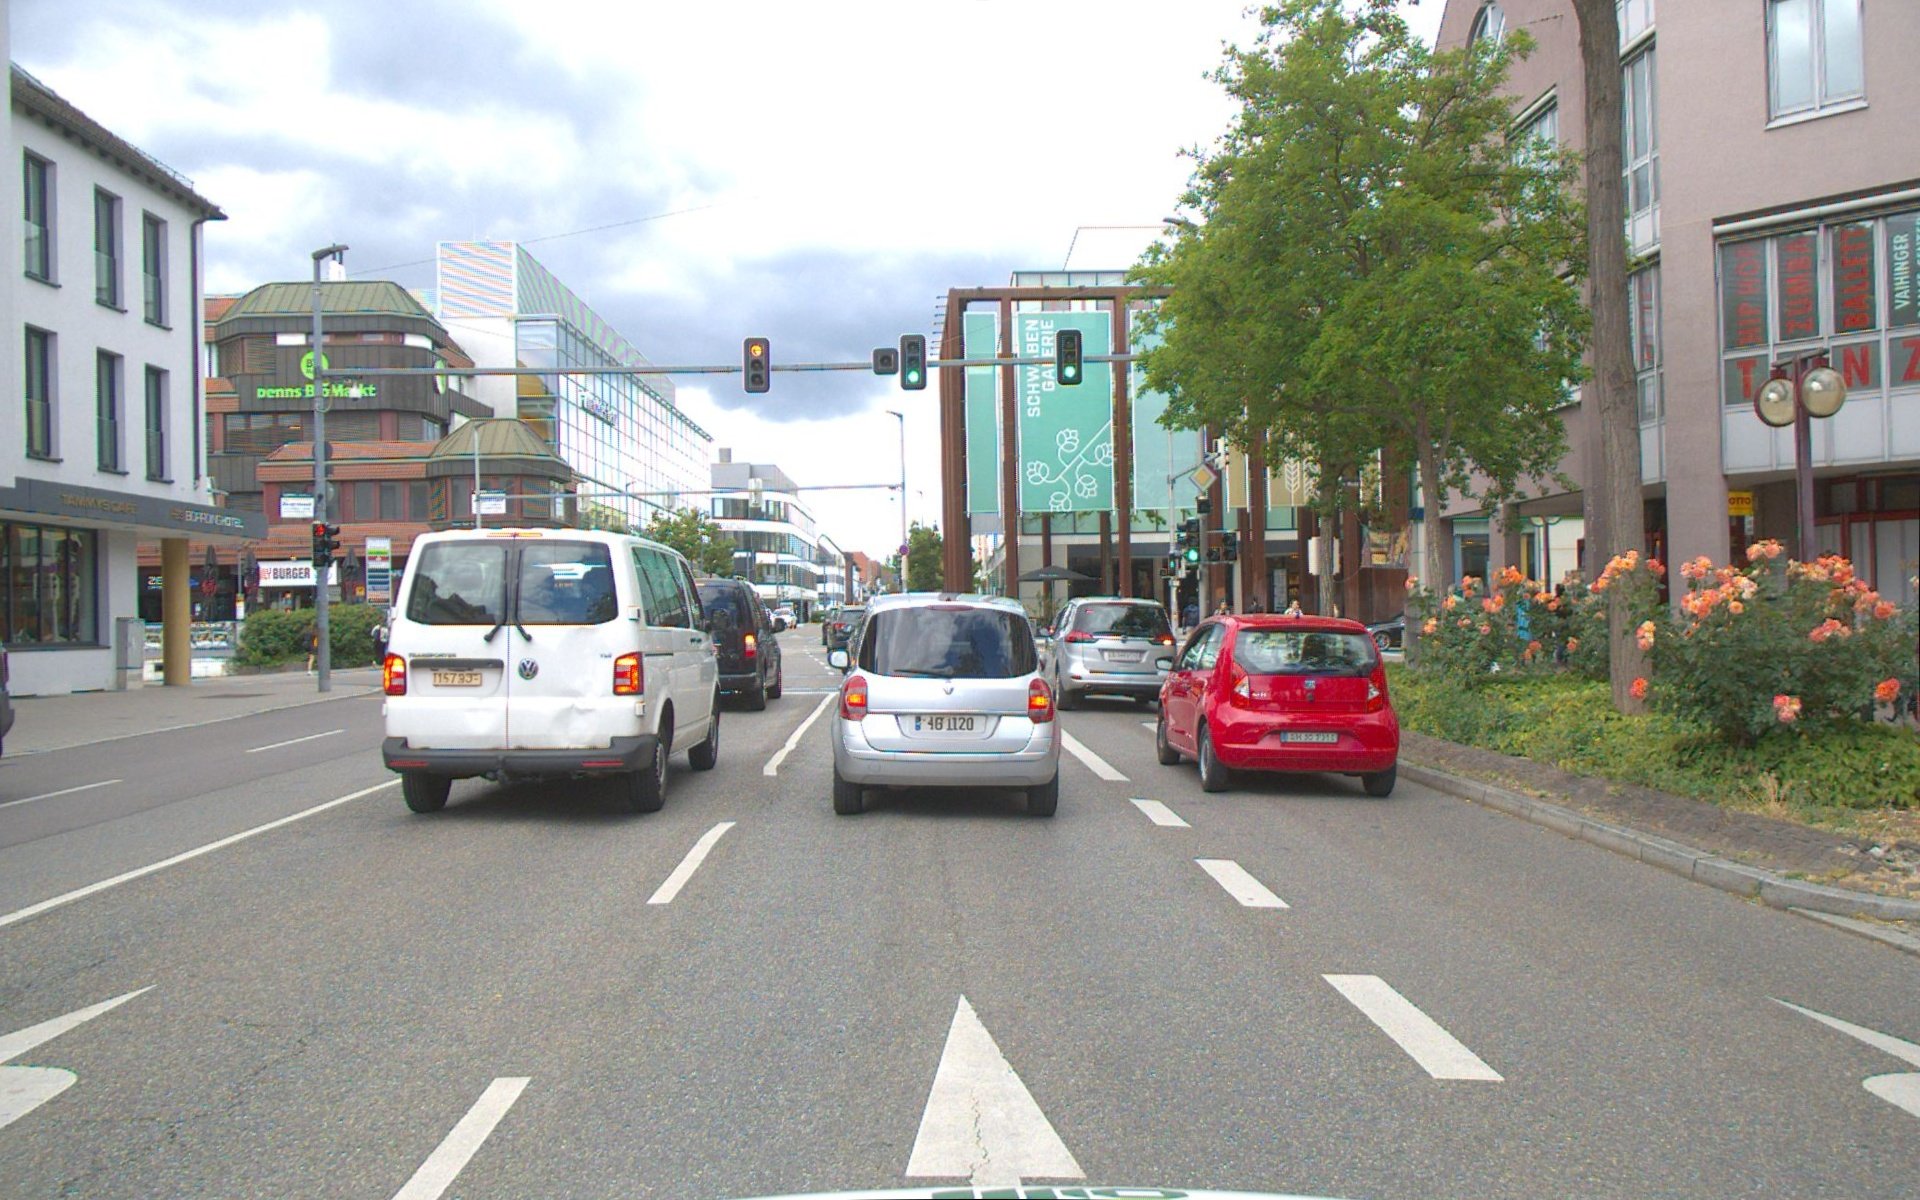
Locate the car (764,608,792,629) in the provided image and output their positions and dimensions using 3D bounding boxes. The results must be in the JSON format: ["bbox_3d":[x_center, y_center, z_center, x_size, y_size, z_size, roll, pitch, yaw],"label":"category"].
[{"bbox_3d":[-13.657,1.369,124.198,1.626,1.491,3.999,-2,0,-1],"label":"car"}]

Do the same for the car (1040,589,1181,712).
[{"bbox_3d":[2.262,0.735,25.883,1.704,1.731,4.379,1,0,-1],"label":"car"}]

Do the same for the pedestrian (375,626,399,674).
[{"bbox_3d":[-19.467,1.686,56.190,0.625,1.616,0.526,-1,0,0],"label":"pedestrian"}]

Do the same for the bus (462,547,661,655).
[{"bbox_3d":[-14.356,-0.007,61.092,2.924,3.385,12.315,-3,0,6],"label":"bus"}]

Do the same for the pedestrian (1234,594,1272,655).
[{"bbox_3d":[8.838,0.731,49.965,0.861,1.798,1.119,-1,0,-4],"label":"pedestrian"}]

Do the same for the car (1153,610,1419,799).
[{"bbox_3d":[2.810,0.844,14.968,1.593,1.474,3.641,1,0,-1],"label":"car"}]

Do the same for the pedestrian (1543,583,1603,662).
[{"bbox_3d":[12.803,0.467,34.554,0.813,1.612,1.058,-1,-1,-2],"label":"pedestrian"}]

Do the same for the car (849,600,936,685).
[{"bbox_3d":[-1.342,0.820,33.454,1.636,1.581,3.641,1,0,-1],"label":"car"}]

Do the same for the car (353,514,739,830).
[{"bbox_3d":[-3.033,0.484,13.261,1.953,2.049,4.838,1,0,-1],"label":"car"}]

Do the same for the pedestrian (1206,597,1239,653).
[{"bbox_3d":[7.959,0.748,50.197,0.727,1.655,0.952,-1,0,-5],"label":"pedestrian"}]

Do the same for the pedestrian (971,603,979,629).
[{"bbox_3d":[0.885,0.954,99.395,0.418,1.576,0.481,-1,-1,-3],"label":"pedestrian"}]

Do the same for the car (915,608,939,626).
[{"bbox_3d":[-2.563,1.319,129.325,1.839,1.358,3.999,1,0,-1],"label":"car"}]

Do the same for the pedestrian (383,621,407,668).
[{"bbox_3d":[-19.680,1.563,57.645,0.625,1.616,0.526,-1,0,0],"label":"pedestrian"}]

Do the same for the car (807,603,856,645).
[{"bbox_3d":[-4.875,0.910,62.956,1.636,1.521,3.641,1,0,-1],"label":"car"}]

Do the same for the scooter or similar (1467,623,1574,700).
[{"bbox_3d":[8.464,0.917,25.050,0.463,1.106,1.878,-1,-1,-18],"label":"scooter or similar"}]

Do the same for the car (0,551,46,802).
[{"bbox_3d":[-8.550,0.638,11.429,1.884,2.003,4.767,-2,0,-2],"label":"car"}]

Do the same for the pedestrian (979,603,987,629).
[{"bbox_3d":[1.362,0.963,99.374,0.418,1.576,0.481,-1,-1,-3],"label":"pedestrian"}]

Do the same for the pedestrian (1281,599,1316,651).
[{"bbox_3d":[10.666,0.784,52.119,0.805,1.623,1.038,-1,-1,-4],"label":"pedestrian"}]

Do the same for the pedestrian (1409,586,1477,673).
[{"bbox_3d":[10.008,0.606,34.300,1.034,1.745,1.109,-1,-1,-3],"label":"pedestrian"}]

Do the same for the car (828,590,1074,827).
[{"bbox_3d":[-0.102,0.744,13.009,1.636,1.581,3.641,1,0,-1],"label":"car"}]

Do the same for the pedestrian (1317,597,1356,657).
[{"bbox_3d":[11.641,0.829,51.127,0.861,1.798,1.119,-1,0,-4],"label":"pedestrian"}]

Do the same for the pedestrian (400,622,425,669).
[{"bbox_3d":[-18.977,1.568,57.352,0.625,1.616,0.656,-1,0,0],"label":"pedestrian"}]

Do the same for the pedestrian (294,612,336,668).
[{"bbox_3d":[-20.717,1.281,53.142,0.929,1.786,0.944,-1,0,0],"label":"pedestrian"}]

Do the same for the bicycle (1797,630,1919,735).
[{"bbox_3d":[9.677,0.855,17.343,1.540,1.067,0.404,-1,-1,41],"label":"bicycle"}]

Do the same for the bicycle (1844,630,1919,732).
[{"bbox_3d":[10.310,0.855,17.581,1.540,1.067,0.404,-1,-1,41],"label":"bicycle"}]

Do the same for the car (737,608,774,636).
[{"bbox_3d":[-11.716,1.232,95.054,1.709,1.484,4.233,-2,0,-2],"label":"car"}]

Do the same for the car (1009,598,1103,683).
[{"bbox_3d":[2.066,0.855,36.555,1.704,1.731,4.379,1,0,-1],"label":"car"}]

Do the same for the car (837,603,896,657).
[{"bbox_3d":[-2.767,0.881,49.549,1.636,1.521,3.641,1,0,-1],"label":"car"}]

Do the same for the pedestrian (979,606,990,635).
[{"bbox_3d":[1.050,0.895,71.673,0.438,1.241,0.606,-1,-1,1],"label":"pedestrian"}]

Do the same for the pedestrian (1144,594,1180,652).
[{"bbox_3d":[6.040,0.680,49.513,0.861,1.711,1.119,-1,0,-4],"label":"pedestrian"}]

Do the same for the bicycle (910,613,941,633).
[{"bbox_3d":[-1.760,1.185,85.058,1.528,1.010,0.752,-1,0,2],"label":"bicycle"}]

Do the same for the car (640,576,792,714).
[{"bbox_3d":[-3.553,0.619,24.831,1.673,1.852,4.570,1,0,-1],"label":"car"}]

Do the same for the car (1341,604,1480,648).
[{"bbox_3d":[14.850,0.848,54.617,4.090,1.429,1.799,0,0,-4],"label":"car"}]

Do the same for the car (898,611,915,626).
[{"bbox_3d":[-5.621,1.957,173.865,1.626,1.491,3.999,-2,0,-1],"label":"car"}]

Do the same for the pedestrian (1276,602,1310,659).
[{"bbox_3d":[9.880,0.896,49.081,0.727,1.655,0.952,-1,0,-5],"label":"pedestrian"}]

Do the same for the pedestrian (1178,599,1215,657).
[{"bbox_3d":[7.089,0.833,49.631,0.861,1.711,1.119,-1,0,-4],"label":"pedestrian"}]

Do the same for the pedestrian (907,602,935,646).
[{"bbox_3d":[-1.498,0.912,63.615,0.854,1.675,0.678,-1,0,33],"label":"pedestrian"}]
